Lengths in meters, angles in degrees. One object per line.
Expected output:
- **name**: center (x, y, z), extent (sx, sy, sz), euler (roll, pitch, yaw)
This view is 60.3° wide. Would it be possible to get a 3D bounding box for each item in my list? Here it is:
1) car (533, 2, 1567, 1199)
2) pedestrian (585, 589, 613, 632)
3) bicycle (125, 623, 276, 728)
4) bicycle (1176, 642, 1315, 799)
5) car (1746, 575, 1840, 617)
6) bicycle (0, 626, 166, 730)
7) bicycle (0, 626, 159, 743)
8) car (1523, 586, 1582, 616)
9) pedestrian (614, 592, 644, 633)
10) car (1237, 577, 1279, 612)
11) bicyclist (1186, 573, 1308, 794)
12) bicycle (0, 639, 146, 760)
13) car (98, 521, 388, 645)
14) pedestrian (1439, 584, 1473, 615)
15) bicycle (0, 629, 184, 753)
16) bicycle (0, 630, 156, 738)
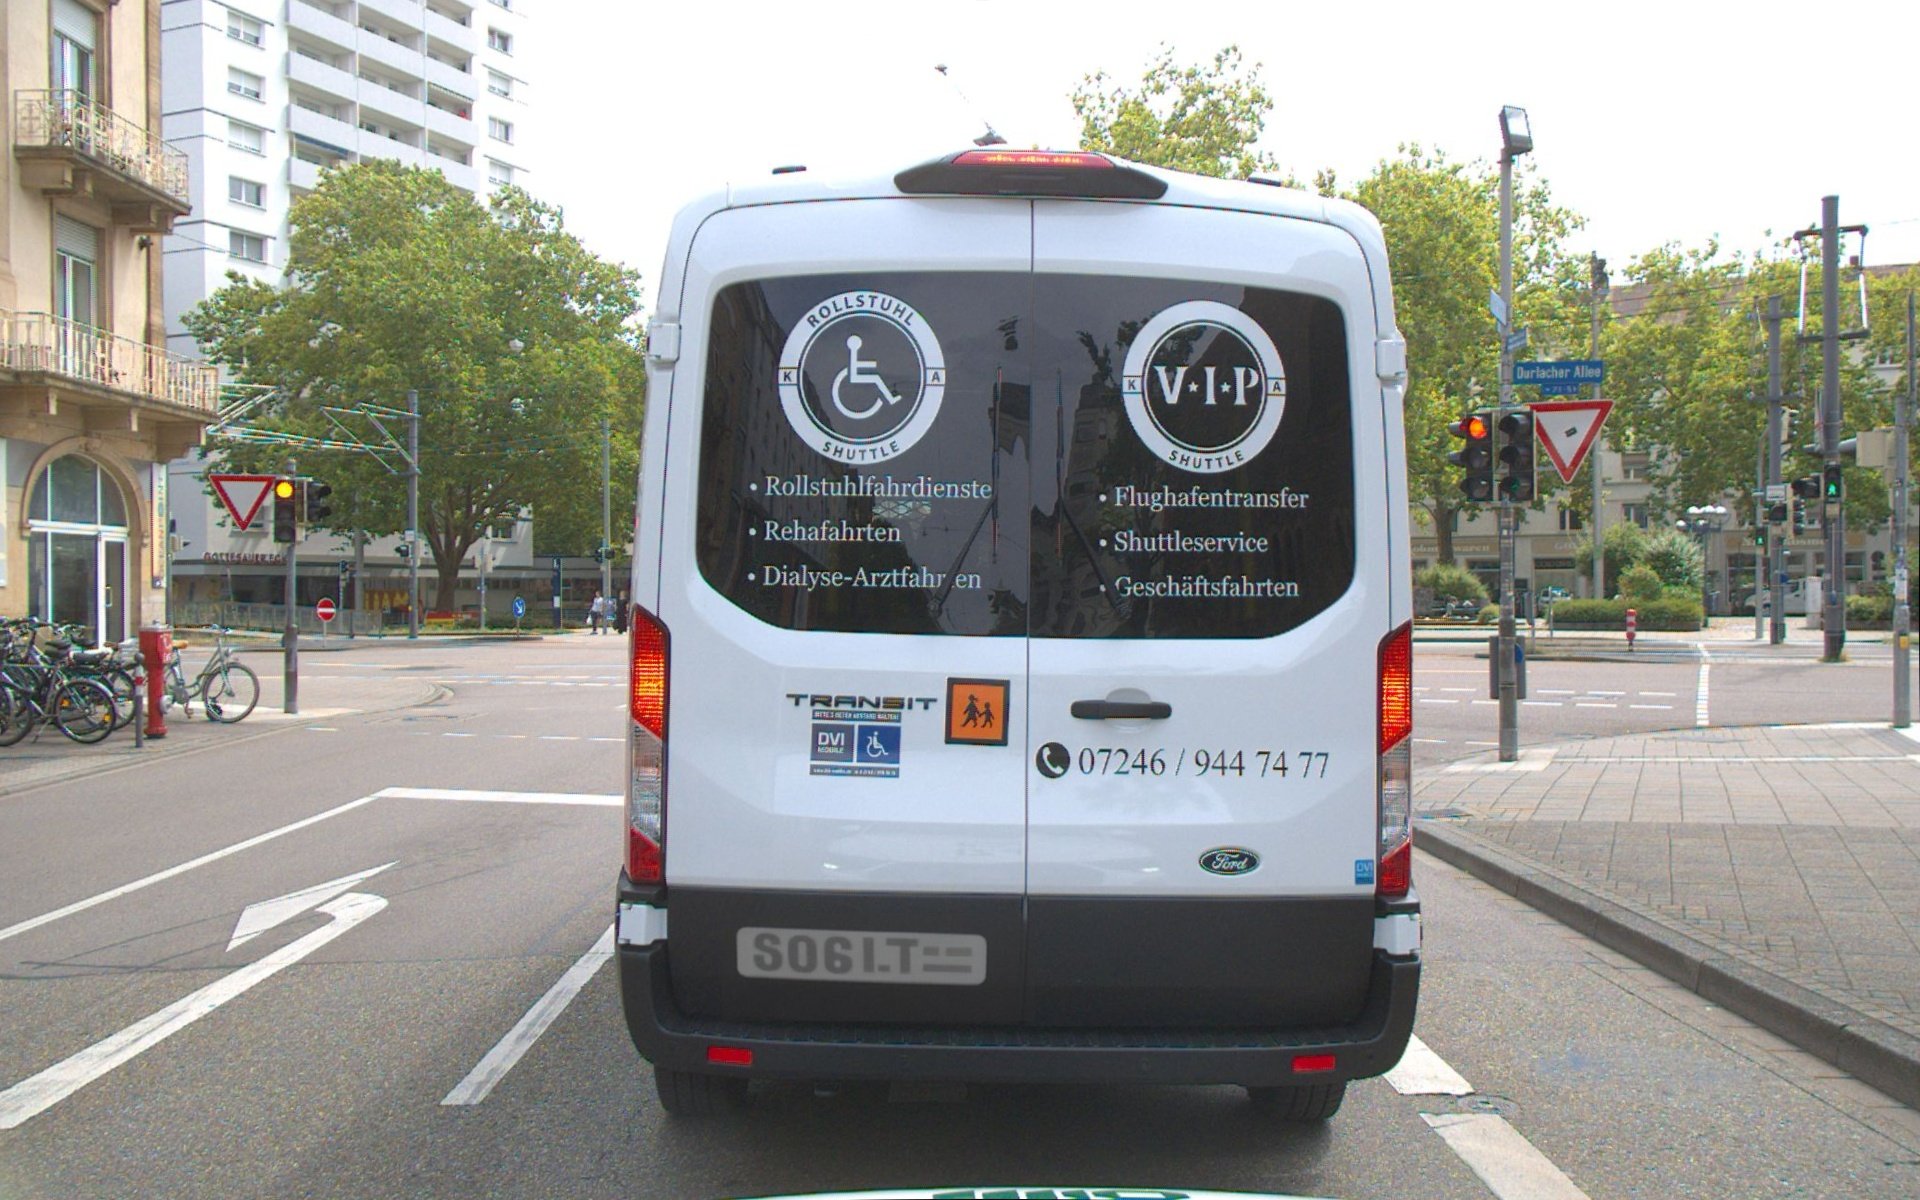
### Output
- **car**: center (0.118, 0.084, 5.799), extent (2.138, 2.694, 4.627), euler (1, 1, -2)
- **pedestrian**: center (-13.767, 0.399, 63.027), extent (0.790, 1.600, 0.724), euler (0, 0, 13)
- **bicycle**: center (-9.281, 0.901, 20.213), extent (1.836, 1.187, 0.498), euler (2, 0, 20)
- **bicycle**: center (2.339, 0.922, 13.365), extent (0.883, 1.094, 1.971), euler (0, 0, 16)
- **car**: center (39.839, -0.195, 79.227), extent (3.907, 1.916, 1.857), euler (-1, 0, 24)
- **bicycle**: center (-10.213, 0.895, 19.082), extent (1.775, 1.140, 0.593), euler (2, 0, -9)
- **bicycle**: center (-9.670, 0.900, 17.781), extent (1.775, 1.186, 0.593), euler (2, 0, -9)
- **car**: center (31.749, 0.032, 88.677), extent (1.951, 1.529, 4.002), euler (-1, 0, 4)
- **pedestrian**: center (-12.585, 0.481, 62.866), extent (0.910, 1.541, 0.724), euler (0, 0, 14)
- **car**: center (17.121, -0.343, 95.271), extent (1.951, 1.964, 4.002), euler (-1, 0, 4)
- **bicyclist**: center (2.321, 0.644, 13.317), extent (0.884, 1.713, 0.757), euler (0, 0, 16)
- **bicycle**: center (-9.080, 0.980, 16.381), extent (1.771, 1.140, 0.594), euler (-1, 0, 6)
- **car**: center (-24.489, -0.542, 56.413), extent (9.686, 3.984, 3.454), euler (0, 0, 24)
- **pedestrian**: center (21.205, -0.015, 70.739), extent (1.068, 1.257, 1.441), euler (-2, -1, 4)
- **bicycle**: center (-9.043, 0.927, 17.053), extent (1.771, 1.140, 0.594), euler (3, 0, 3)
- **bicycle**: center (-10.000, 0.928, 18.388), extent (1.775, 1.140, 0.593), euler (2, 0, -9)
